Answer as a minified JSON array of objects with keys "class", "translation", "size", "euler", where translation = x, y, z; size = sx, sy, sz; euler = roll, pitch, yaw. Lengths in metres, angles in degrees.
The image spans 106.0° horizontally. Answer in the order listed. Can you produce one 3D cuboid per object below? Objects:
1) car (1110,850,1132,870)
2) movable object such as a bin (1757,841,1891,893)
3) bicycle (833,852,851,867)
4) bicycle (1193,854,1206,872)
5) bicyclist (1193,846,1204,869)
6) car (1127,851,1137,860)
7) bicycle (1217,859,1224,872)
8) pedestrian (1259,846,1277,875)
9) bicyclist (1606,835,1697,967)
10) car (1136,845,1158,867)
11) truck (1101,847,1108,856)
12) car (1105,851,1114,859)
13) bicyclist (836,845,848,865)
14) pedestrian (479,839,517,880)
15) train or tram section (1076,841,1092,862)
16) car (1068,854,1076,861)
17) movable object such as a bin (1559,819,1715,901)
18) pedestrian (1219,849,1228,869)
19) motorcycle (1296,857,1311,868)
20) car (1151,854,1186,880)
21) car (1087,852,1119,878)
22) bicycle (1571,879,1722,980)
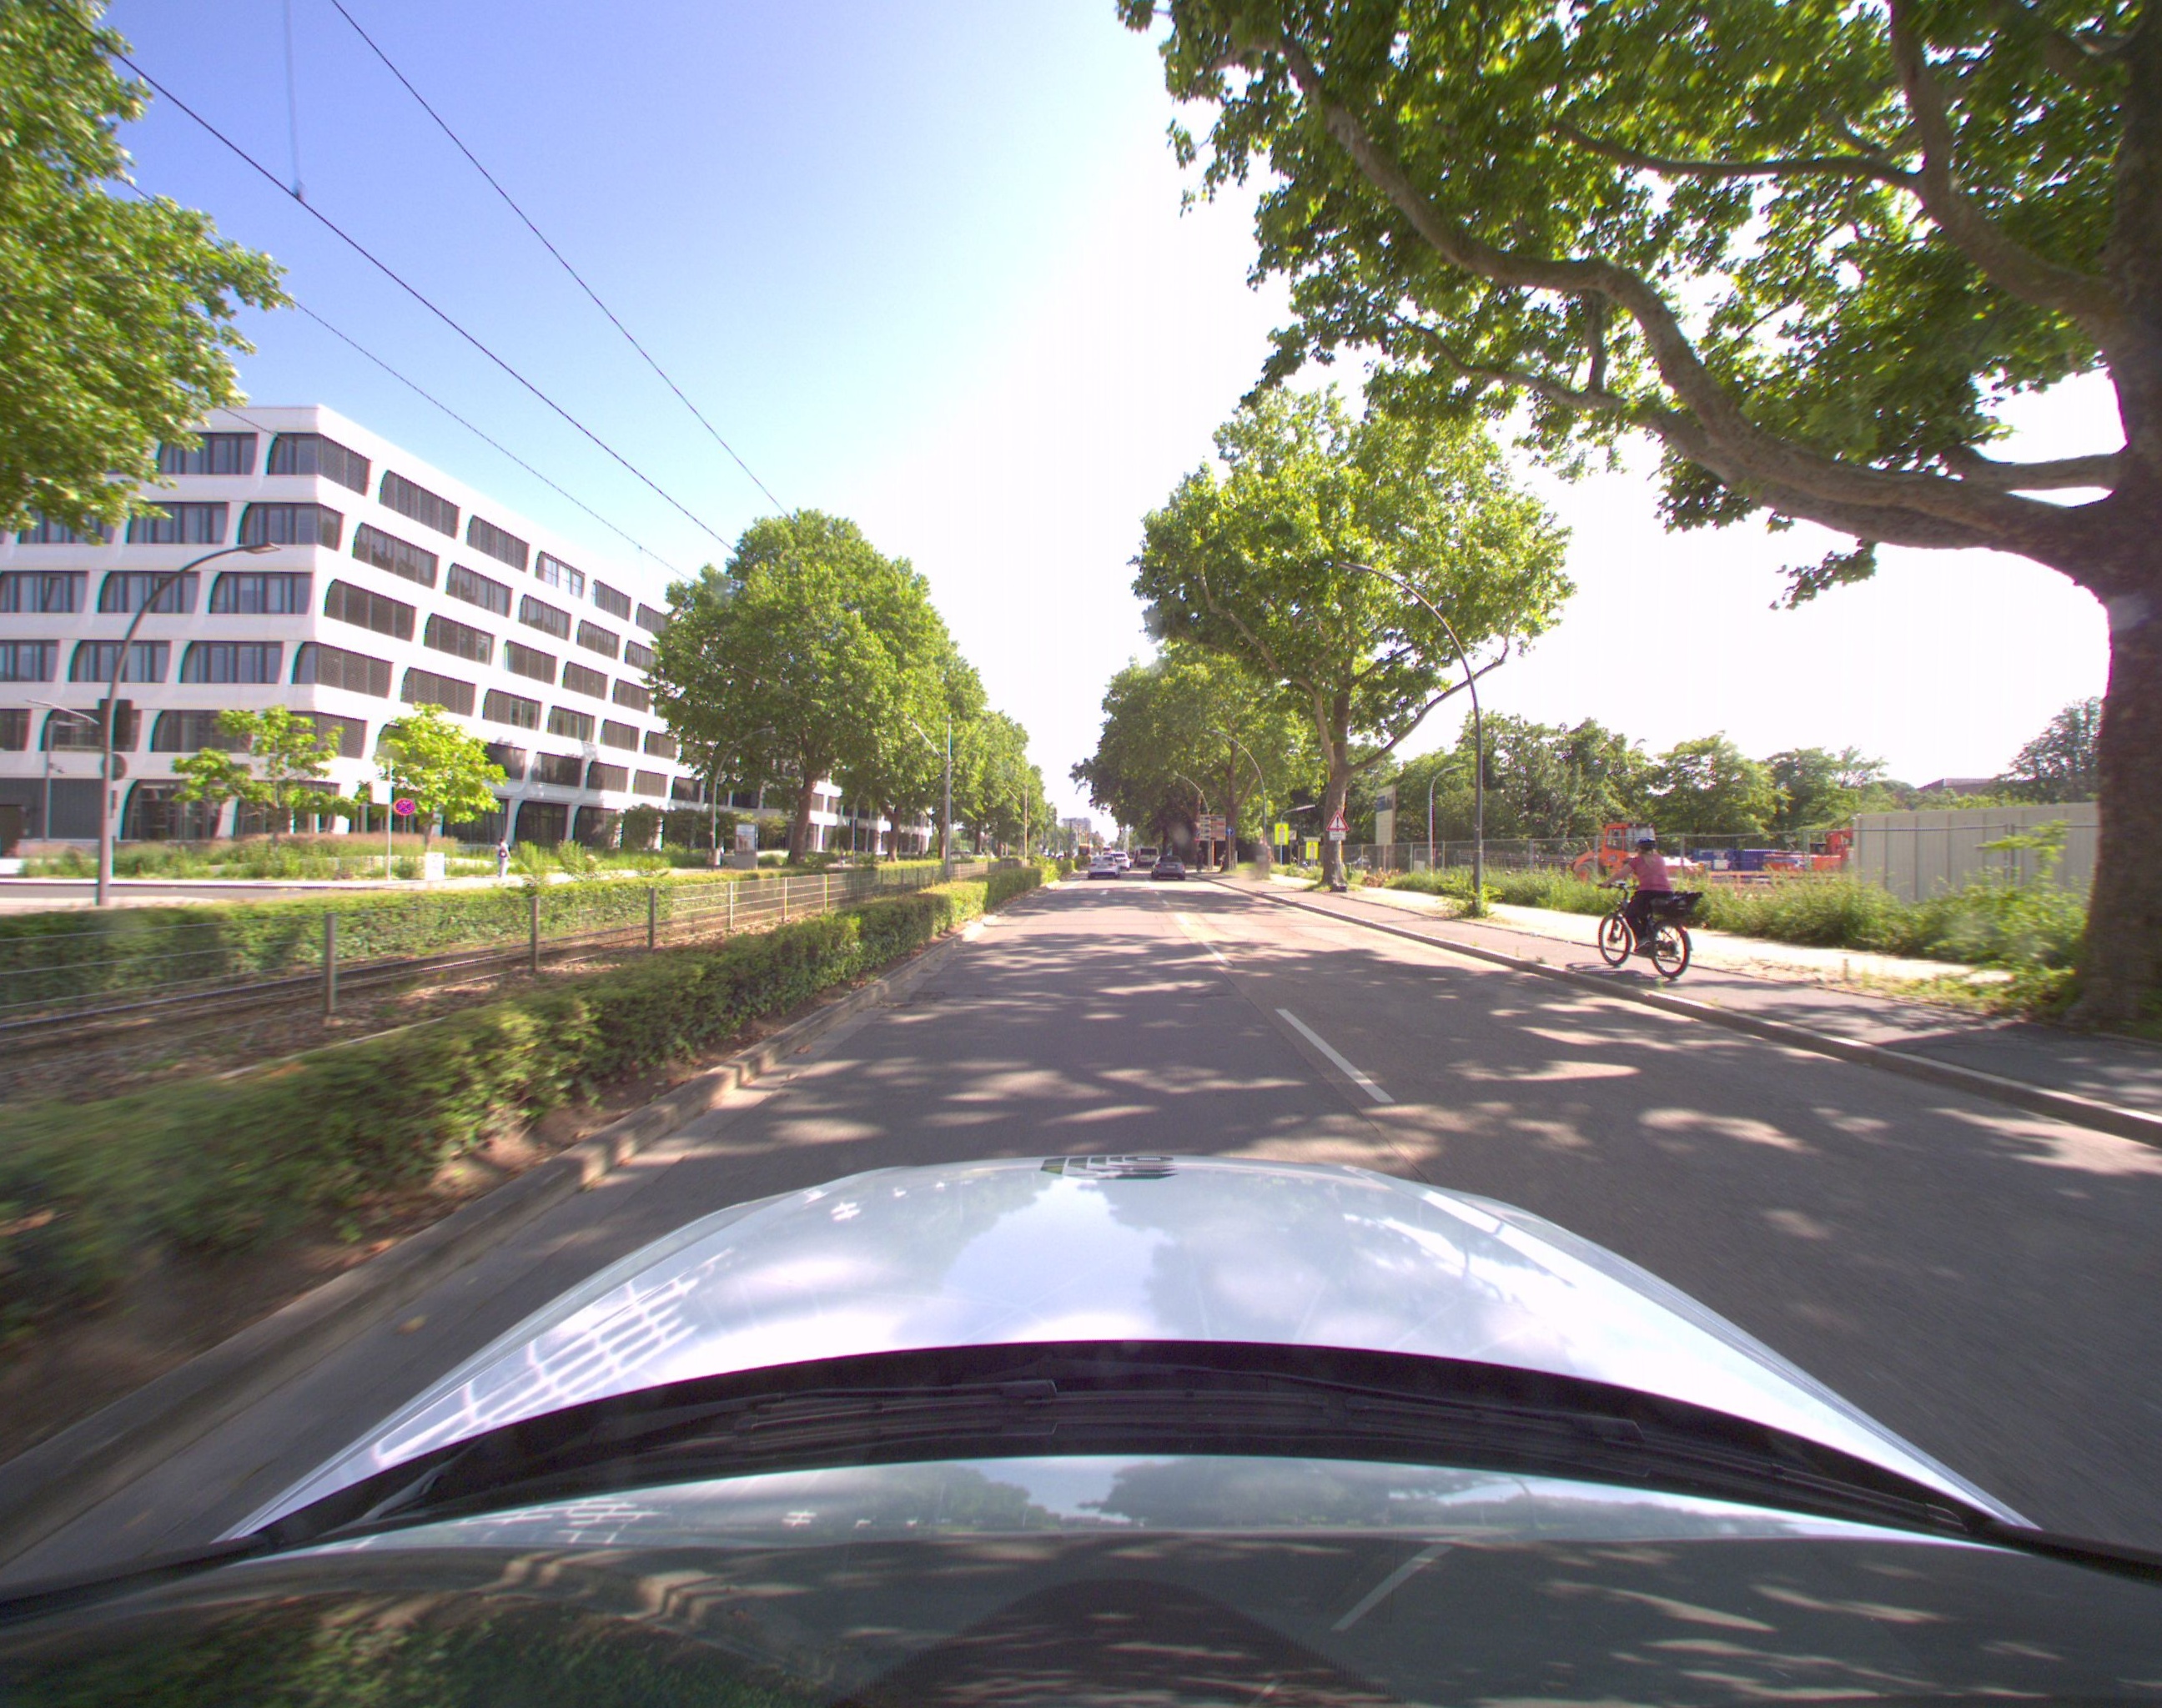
[{"class":"car","translation":[3.327,0.495,67.916],"size":[1.722,1.605,3.888],"euler":[1,0,3]},{"class":"movable object such as a bin","translation":[45.370,0.788,49.902],"size":[5.155,2.975,3.296],"euler":[1,0,2]},{"class":"bicycle","translation":[-18.525,0.391,63.044],"size":[0.661,1.124,2.032],"euler":[1,0,3]},{"class":"bicycle","translation":[8.536,0.658,58.779],"size":[0.711,1.148,2.180],"euler":[-2,2,2]},{"class":"bicyclist","translation":[8.507,0.260,58.789],"size":[0.632,1.648,0.980],"euler":[-2,1,2]},{"class":"car","translation":[11.581,0.325,184.906],"size":[2.063,1.999,4.061],"euler":[1,0,3]},{"class":"bicycle","translation":[12.199,1.029,71.322],"size":[0.348,1.082,1.700],"euler":[1,0,3]},{"class":"pedestrian","translation":[12.357,0.399,53.872],"size":[0.935,1.892,1.152],"euler":[1,0,3]},{"class":"bicyclist","translation":[7.234,0.573,10.359],"size":[0.617,1.600,0.732],"euler":[-1,0,1]},{"class":"car","translation":[6.990,0.232,86.497],"size":[2.221,2.212,4.165],"euler":[1,0,3]},{"class":"truck","translation":[7.512,-0.851,262.788],"size":[1.985,2.790,8.526],"euler":[1,0,3]},{"class":"car","translation":[5.671,0.138,164.048],"size":[1.722,1.631,4.003],"euler":[1,0,3]},{"class":"bicyclist","translation":[-18.504,0.042,63.087],"size":[0.652,1.535,0.641],"euler":[1,0,3]},{"class":"pedestrian","translation":[-23.299,0.213,32.583],"size":[0.717,1.588,1.015],"euler":[1,0,3]},{"class":"train or tram section","translation":[0.561,-0.511,157.965],"size":[2.605,4.015,7.756],"euler":[1,0,3]},{"class":"car","translation":[-2.579,1.017,233.475],"size":[1.985,1.734,4.004],"euler":[1,0,3]},{"class":"movable object such as a bin","translation":[22.802,0.208,33.805],"size":[2.362,3.071,5.984],"euler":[1,0,0]},{"class":"pedestrian","translation":[12.535,0.445,71.512],"size":[0.629,1.785,0.875],"euler":[1,0,2]},{"class":"motorcycle","translation":[20.128,0.761,73.754],"size":[1.217,0.967,0.470],"euler":[1,0,-5]},{"class":"car","translation":[5.130,0.731,48.128],"size":[1.775,1.420,4.003],"euler":[1,0,3]},{"class":"car","translation":[1.340,0.629,48.330],"size":[1.777,1.420,3.888],"euler":[1,0,3]},{"class":"bicycle","translation":[7.252,0.919,10.570],"size":[0.649,1.129,1.946],"euler":[-1,0,2]}]
